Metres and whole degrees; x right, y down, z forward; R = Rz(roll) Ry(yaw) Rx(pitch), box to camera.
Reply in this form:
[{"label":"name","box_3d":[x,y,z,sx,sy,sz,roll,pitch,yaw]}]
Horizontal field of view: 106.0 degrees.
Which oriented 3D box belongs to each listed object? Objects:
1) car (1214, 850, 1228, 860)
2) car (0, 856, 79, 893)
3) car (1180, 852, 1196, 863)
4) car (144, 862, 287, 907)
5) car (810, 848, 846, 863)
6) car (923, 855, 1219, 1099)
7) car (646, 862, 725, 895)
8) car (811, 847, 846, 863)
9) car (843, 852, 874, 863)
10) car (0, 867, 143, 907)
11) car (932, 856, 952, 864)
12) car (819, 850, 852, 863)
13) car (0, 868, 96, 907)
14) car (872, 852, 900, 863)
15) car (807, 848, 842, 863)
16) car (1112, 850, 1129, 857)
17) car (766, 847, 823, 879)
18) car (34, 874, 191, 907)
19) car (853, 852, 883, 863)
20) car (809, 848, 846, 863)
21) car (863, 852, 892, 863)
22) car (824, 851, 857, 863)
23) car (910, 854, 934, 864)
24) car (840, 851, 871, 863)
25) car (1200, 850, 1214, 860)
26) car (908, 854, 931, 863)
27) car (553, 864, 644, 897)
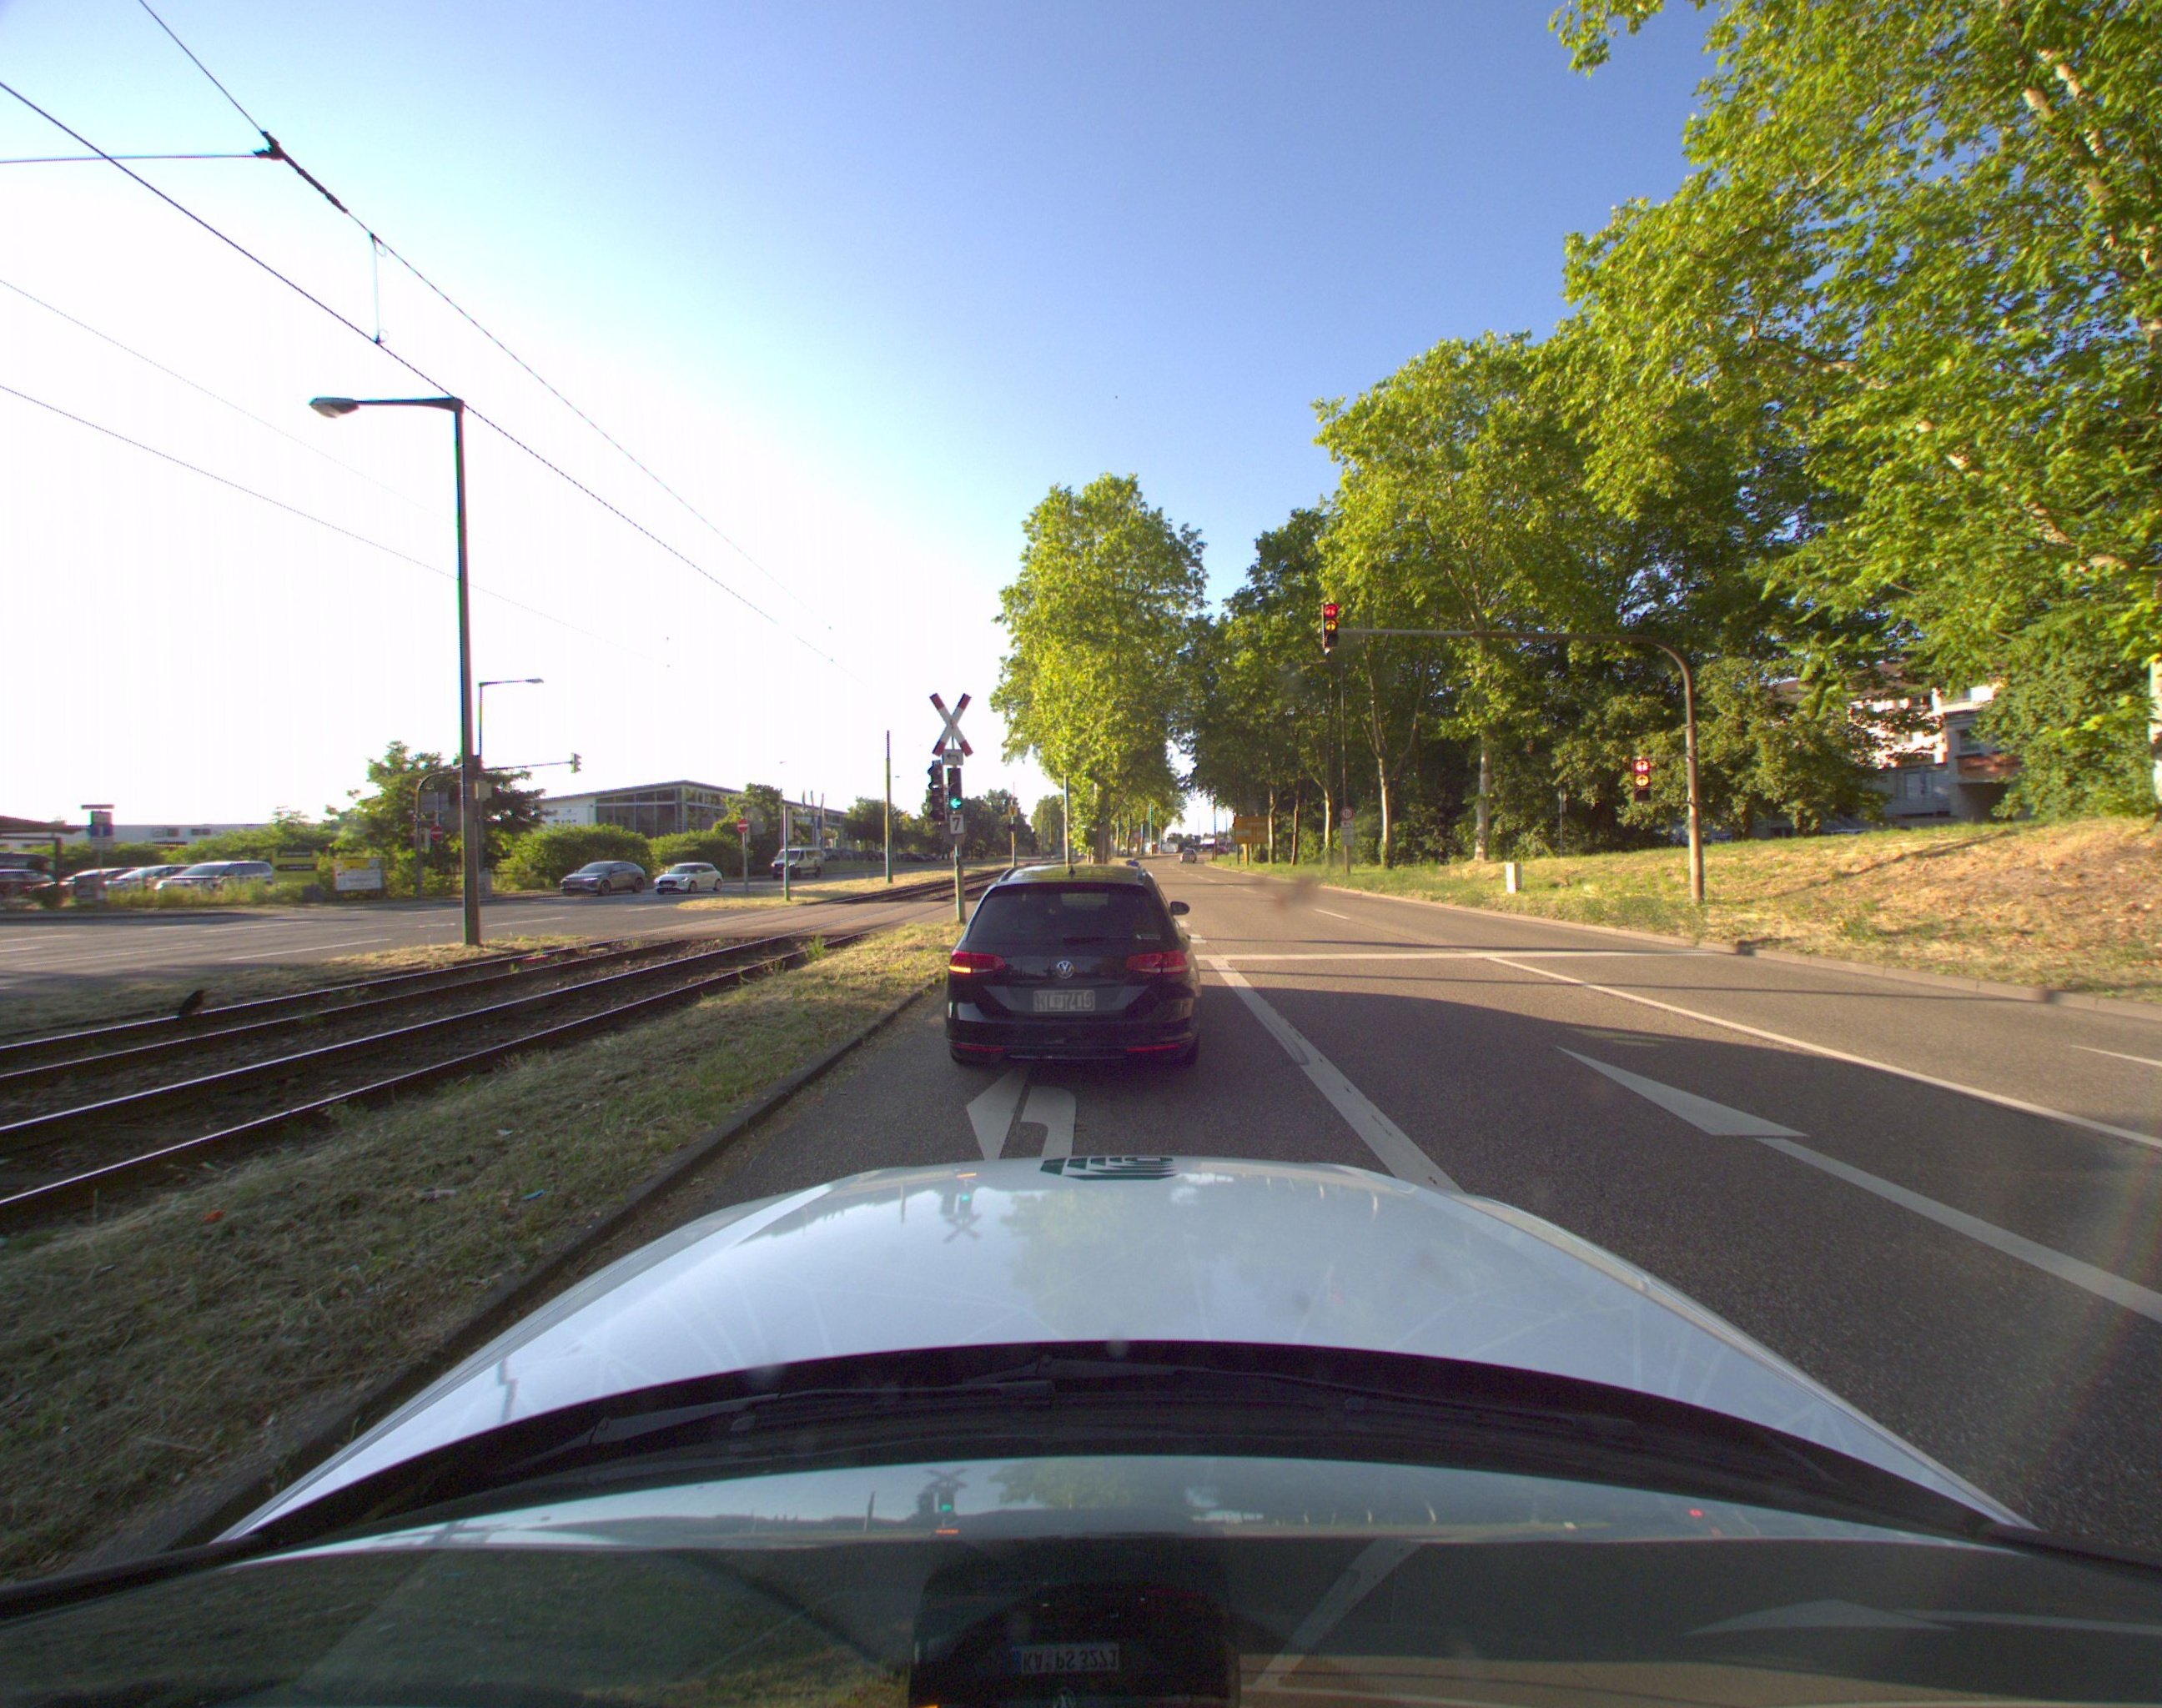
[{"label":"car","box_3d":[24.616,0.149,143.264,1.858,1.635,4.388,2,0,15]},{"label":"car","box_3d":[-60.422,1.153,45.903,1.855,2.014,4.773,0,0,2]},{"label":"car","box_3d":[12.639,0.446,96.605,1.602,1.294,3.986,0,0,3]},{"label":"car","box_3d":[-38.525,1.324,36.409,1.855,1.821,4.174,0,0,2]},{"label":"car","box_3d":[-29.950,0.165,96.381,3.999,1.704,1.732,-1,0,-19]},{"label":"car","box_3d":[-0.017,0.750,6.730,1.788,1.464,3.584,0,0,1]},{"label":"car","box_3d":[-19.768,1.190,40.895,1.855,1.481,4.093,0,0,2]},{"label":"car","box_3d":[-30.602,0.130,98.735,3.999,1.816,1.732,-1,0,-19]},{"label":"car","box_3d":[-31.436,0.477,115.311,3.983,1.556,1.739,-1,0,-7]},{"label":"car","box_3d":[-44.712,1.405,35.890,1.855,1.583,4.174,0,0,2]},{"label":"car","box_3d":[-28.809,1.185,168.918,3.977,1.556,1.742,-1,0,-2]},{"label":"car","box_3d":[-31.151,0.302,103.416,3.999,1.556,1.732,-1,0,-19]},{"label":"car","box_3d":[-47.161,1.453,36.043,1.970,1.583,4.174,0,0,2]},{"label":"car","box_3d":[-30.118,0.591,125.945,3.978,1.621,1.742,-1,0,-3]},{"label":"car","box_3d":[-31.645,0.132,100.516,3.999,1.816,1.732,-1,0,-19]},{"label":"car","box_3d":[7.651,-0.131,156.043,1.976,1.420,4.022,-1,0,23]},{"label":"car","box_3d":[-22.647,0.675,64.686,2.085,2.461,5.860,0,0,5]},{"label":"car","box_3d":[-42.472,1.564,35.887,1.855,1.267,4.174,0,0,2]},{"label":"car","box_3d":[-31.004,0.522,118.823,3.980,1.556,1.741,-1,0,-5]},{"label":"car","box_3d":[-29.261,0.148,94.112,3.999,1.704,1.732,-1,0,-19]},{"label":"car","box_3d":[-30.606,0.547,122.744,3.978,1.621,1.742,-1,0,-3]},{"label":"car","box_3d":[-31.365,0.346,106.206,3.999,1.556,1.732,-1,0,-19]},{"label":"car","box_3d":[-29.255,0.912,150.006,3.978,1.621,1.742,-1,0,-3]},{"label":"car","box_3d":[-31.228,0.439,112.605,3.999,1.556,1.732,-1,0,-19]},{"label":"car","box_3d":[30.115,0.248,195.056,2.077,2.321,5.883,0,0,21]},{"label":"car","box_3d":[-29.103,0.868,146.837,3.978,1.621,1.742,-1,0,-3]},{"label":"car","box_3d":[-23.847,1.284,40.441,1.854,1.481,4.176,0,0,3]}]
